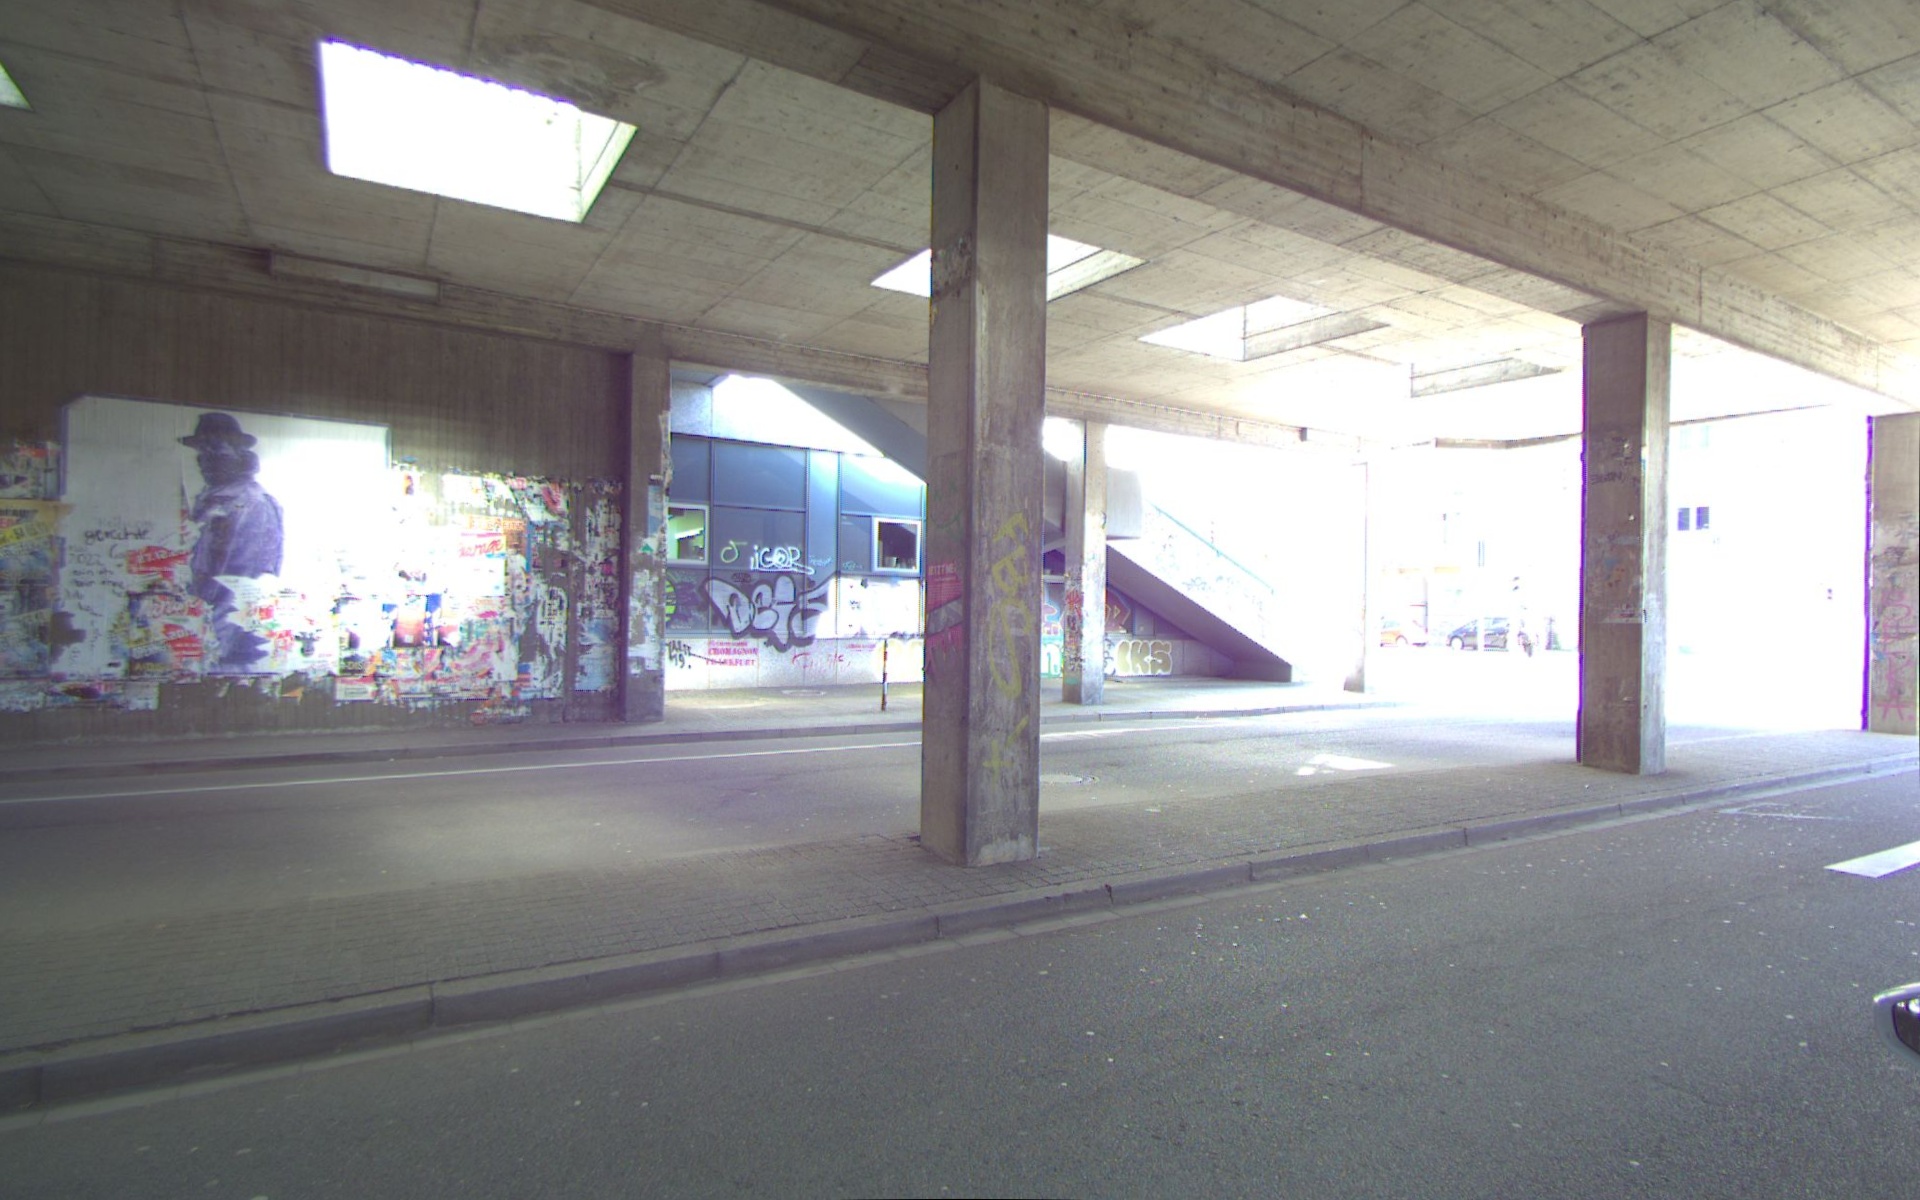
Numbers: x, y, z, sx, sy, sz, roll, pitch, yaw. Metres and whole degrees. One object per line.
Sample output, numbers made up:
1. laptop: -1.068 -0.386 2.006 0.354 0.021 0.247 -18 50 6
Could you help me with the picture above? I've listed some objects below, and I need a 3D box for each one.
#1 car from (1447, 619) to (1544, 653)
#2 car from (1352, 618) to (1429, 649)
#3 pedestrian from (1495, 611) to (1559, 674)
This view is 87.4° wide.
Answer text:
1. car: 25.391 1.672 47.730 1.732 1.528 3.735 1 -1 -31
2. car: 22.443 1.721 52.442 1.543 1.526 3.518 1 -1 -29
3. pedestrian: 16.099 1.187 28.525 1.123 1.760 1.111 1 -1 -17
